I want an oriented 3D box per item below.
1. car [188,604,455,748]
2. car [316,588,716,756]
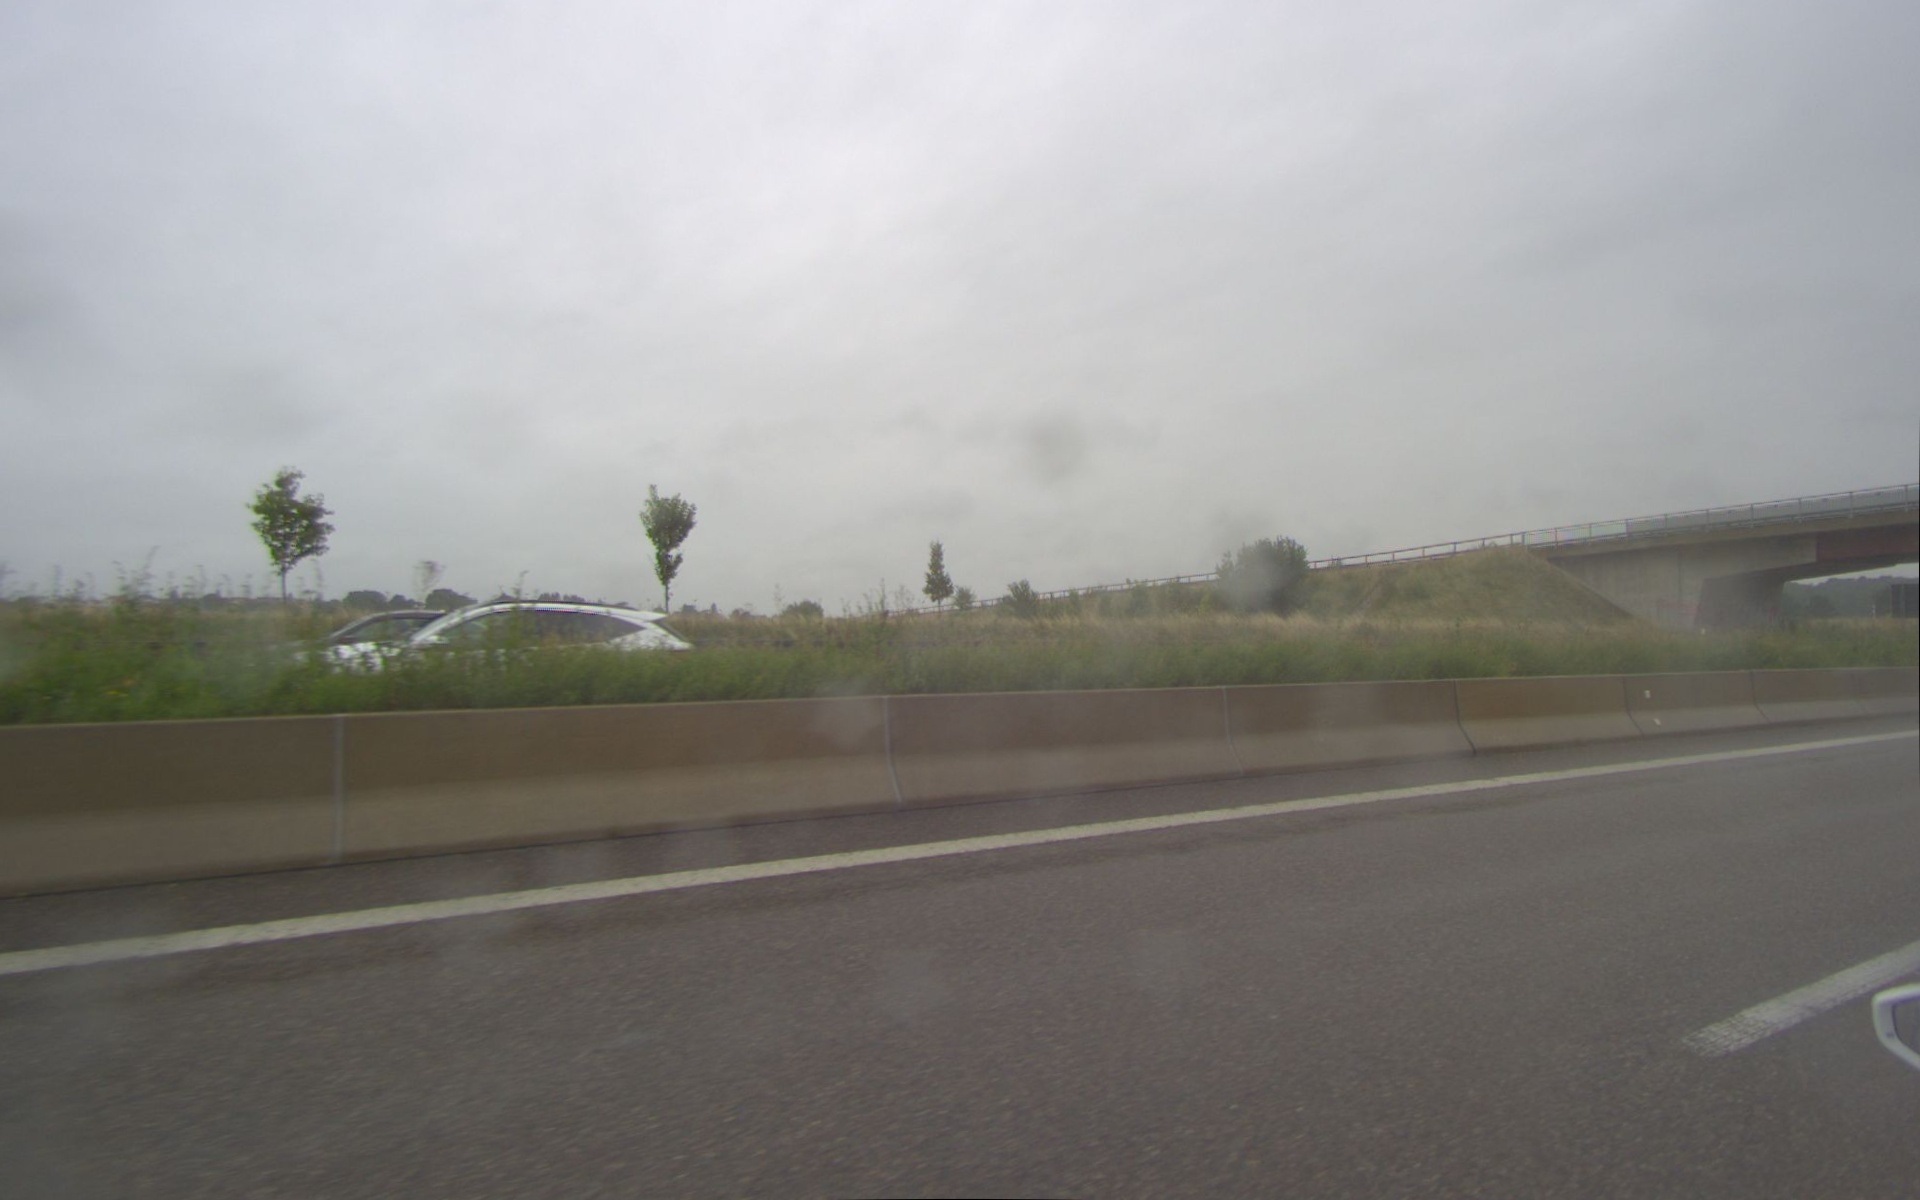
[{"bbox_3d":[-9.953,1.161,15.908,3.345,2.040,1.621,3,-1,-30],"label":"car"},{"bbox_3d":[-4.955,0.776,11.467,3.892,1.639,1.572,3,-1,-30],"label":"car"}]
